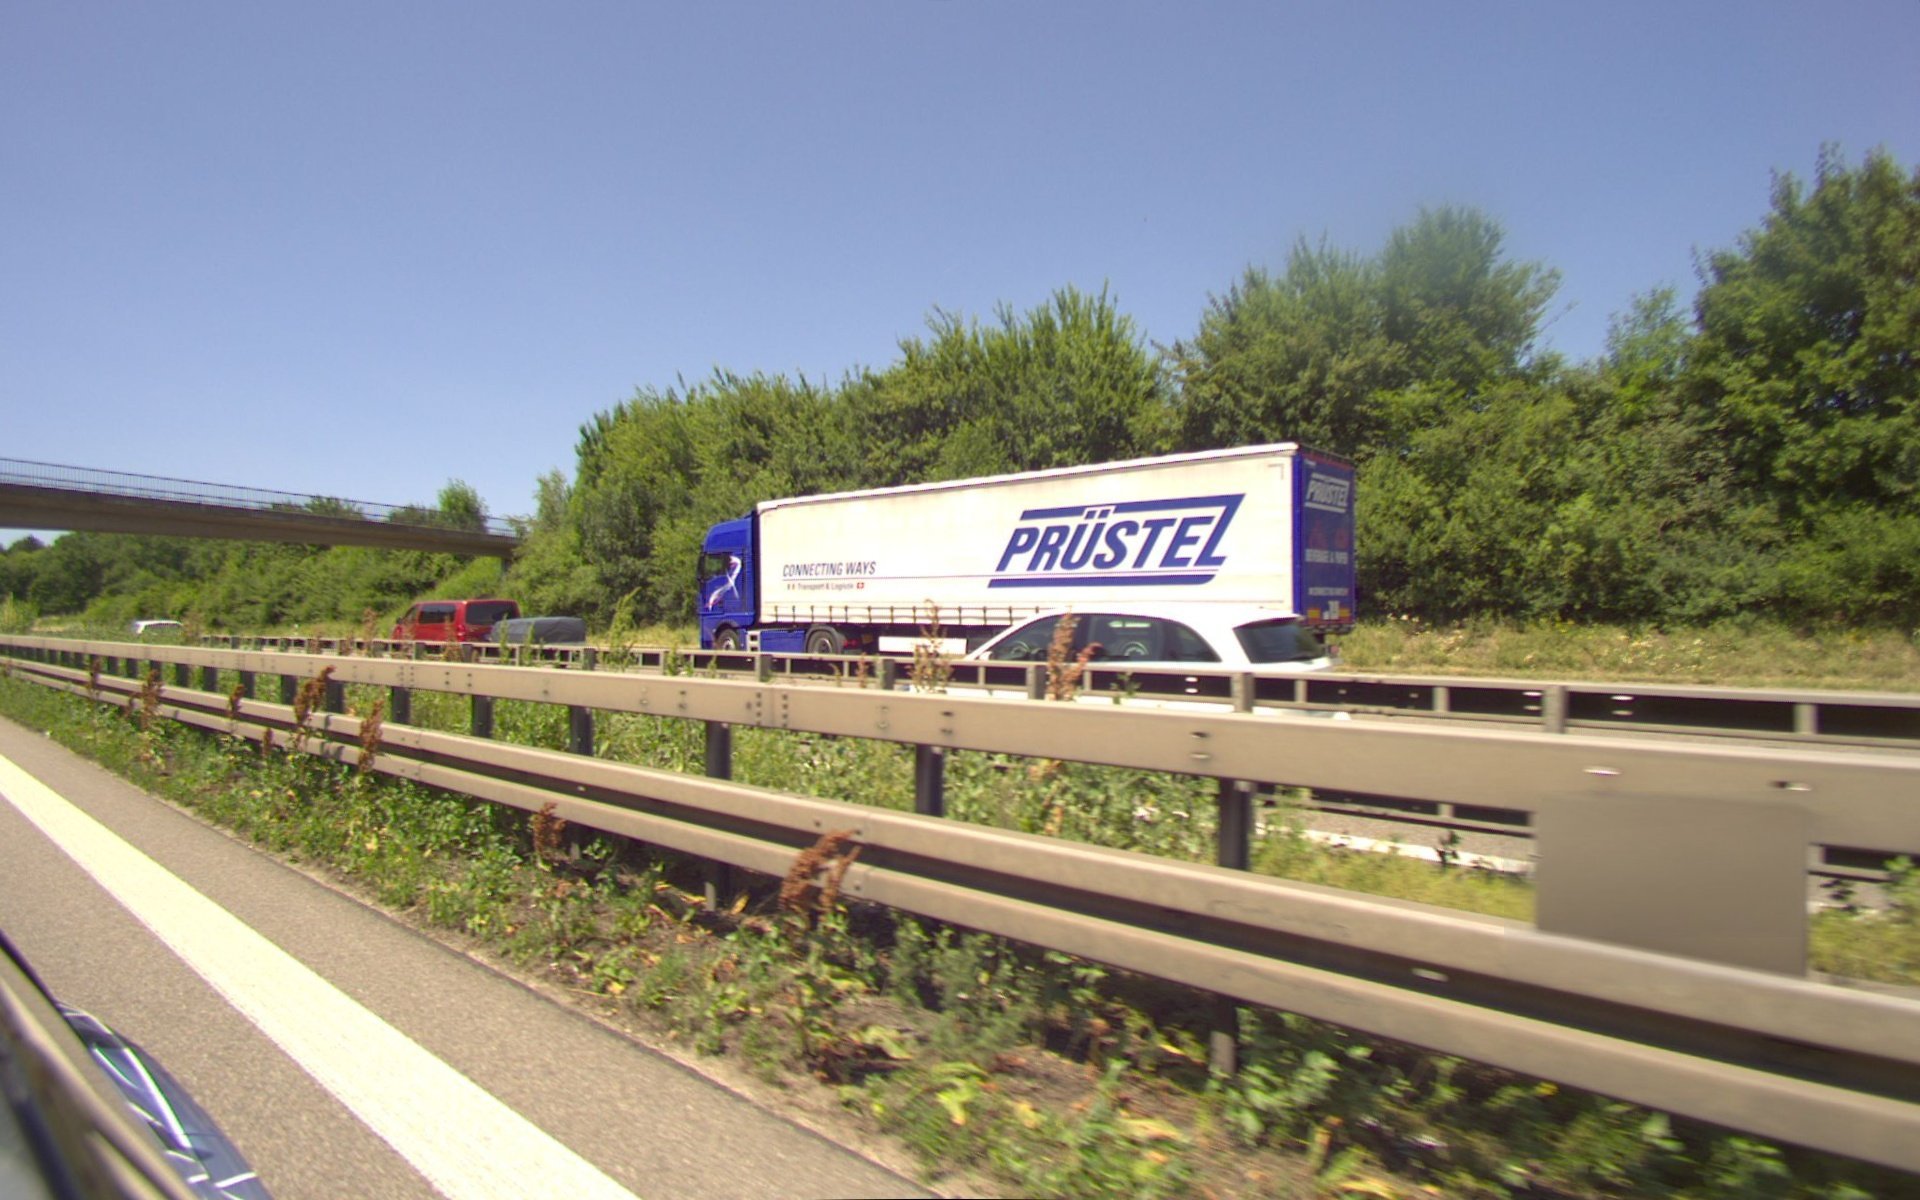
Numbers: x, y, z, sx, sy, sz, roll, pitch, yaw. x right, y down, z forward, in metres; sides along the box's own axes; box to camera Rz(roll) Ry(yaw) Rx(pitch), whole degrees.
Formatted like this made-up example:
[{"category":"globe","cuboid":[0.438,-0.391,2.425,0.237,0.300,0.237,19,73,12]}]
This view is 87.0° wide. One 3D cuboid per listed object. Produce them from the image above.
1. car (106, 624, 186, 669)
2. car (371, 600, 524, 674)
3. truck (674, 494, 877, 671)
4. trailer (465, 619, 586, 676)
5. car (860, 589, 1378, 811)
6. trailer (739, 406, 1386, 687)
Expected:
[{"category":"car","cuboid":[-29.548,1.686,36.707,3.857,1.500,1.607,-3,-2,41]},{"category":"car","cuboid":[-14.599,1.006,28.660,5.822,1.895,1.841,-1,-1,42]},{"category":"truck","cuboid":[-4.858,-0.326,26.241,5.081,4.150,2.467,-3,-2,41]},{"category":"trailer","cuboid":[-11.077,1.171,25.715,3.257,1.331,1.577,-2,-1,41]},{"category":"car","cuboid":[1.250,0.782,9.193,4.386,1.566,1.659,-3,-2,39]},{"category":"trailer","cuboid":[0.904,-0.571,21.279,14.668,4.286,2.607,-3,-2,41]}]
